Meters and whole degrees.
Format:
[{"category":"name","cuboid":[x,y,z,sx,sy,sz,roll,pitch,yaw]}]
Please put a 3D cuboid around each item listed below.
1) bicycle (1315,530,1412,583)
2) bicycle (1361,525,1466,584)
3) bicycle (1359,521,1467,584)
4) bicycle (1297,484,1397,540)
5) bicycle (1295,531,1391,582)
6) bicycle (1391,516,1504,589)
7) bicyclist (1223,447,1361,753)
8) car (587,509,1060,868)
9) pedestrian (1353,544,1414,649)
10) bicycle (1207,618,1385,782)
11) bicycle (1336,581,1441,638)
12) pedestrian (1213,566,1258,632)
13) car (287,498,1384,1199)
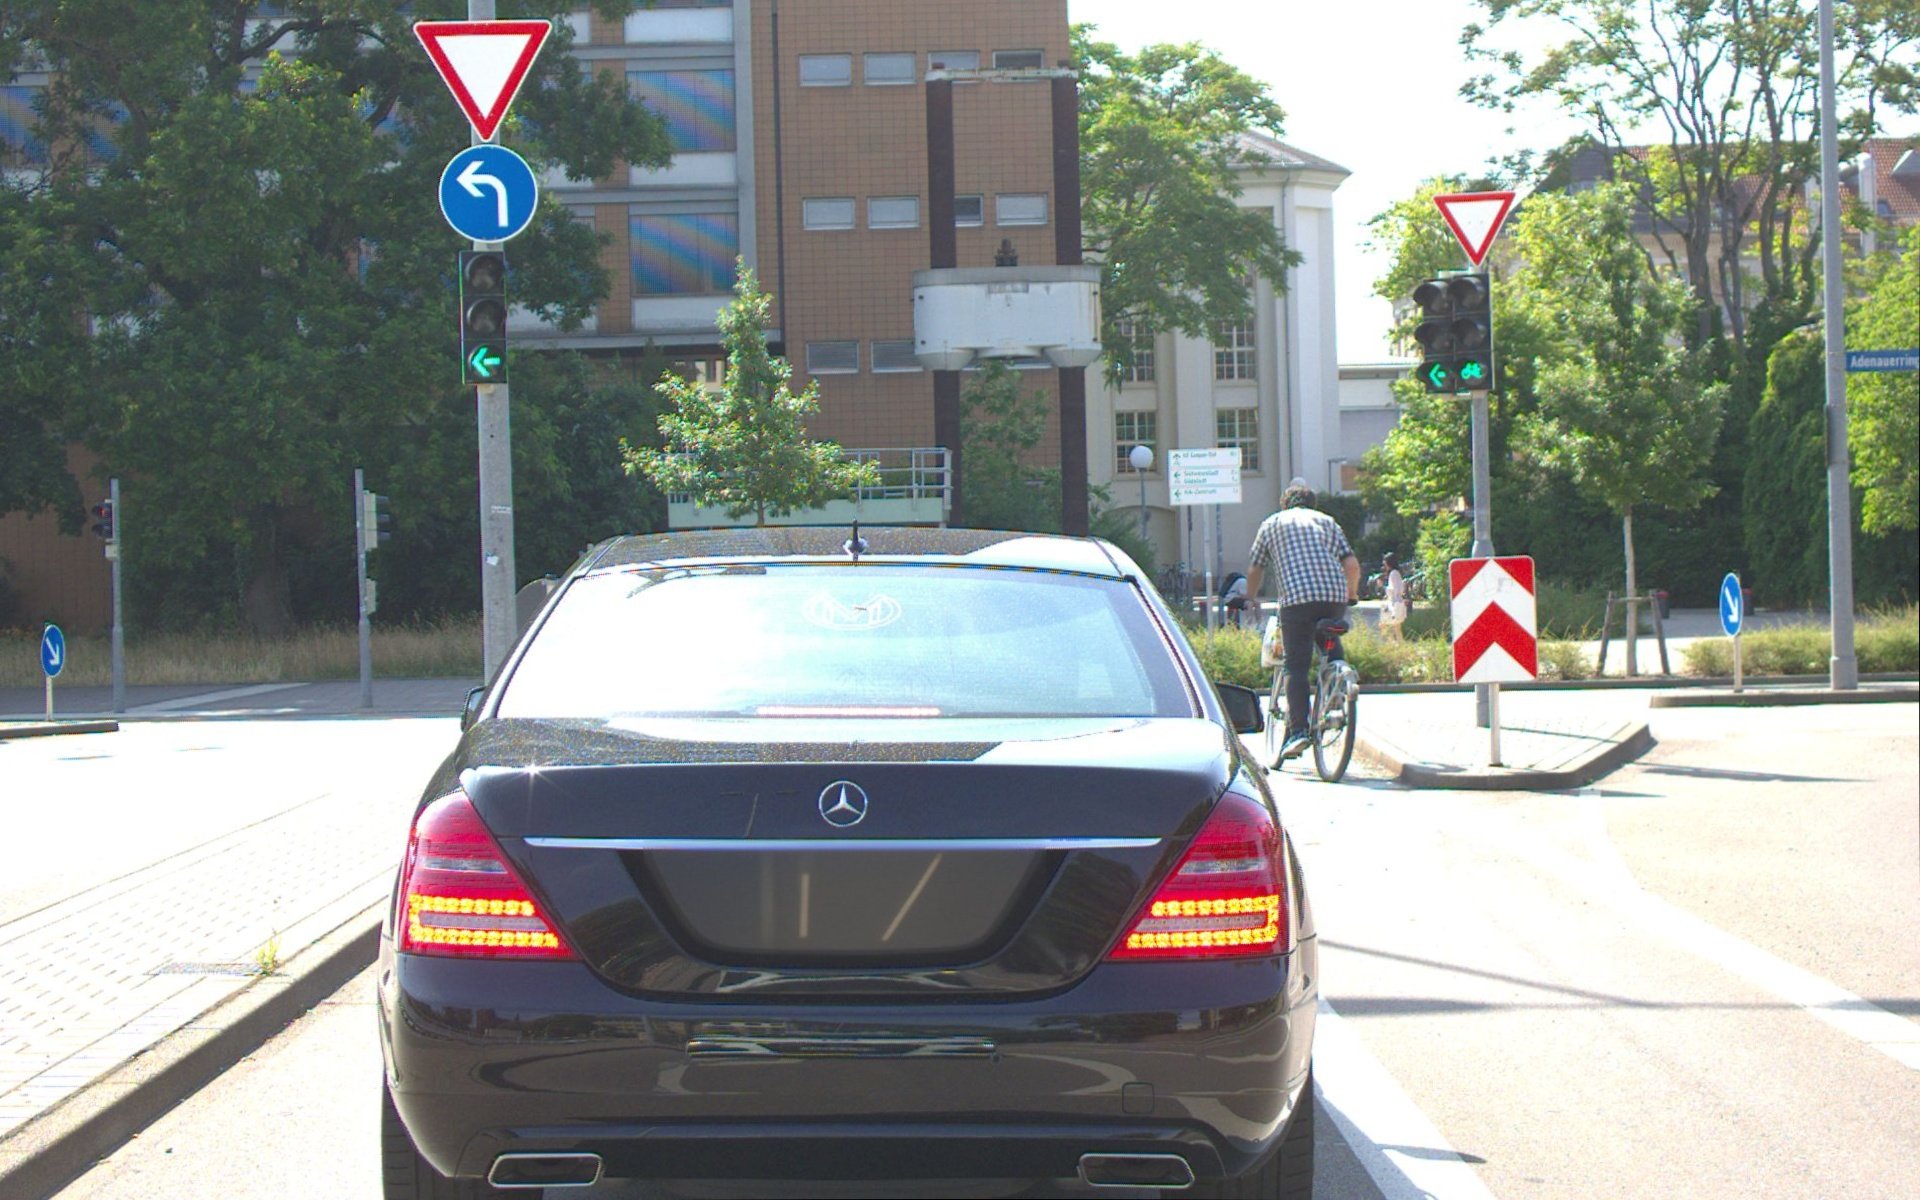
[{"category":"bicycle","cuboid":[12.262,-1.327,104.539,2.823,1.495,0.842,-2,1,-1]},{"category":"bicycle","cuboid":[12.844,-1.283,97.445,2.823,1.581,0.842,-2,1,-1]},{"category":"bicycle","cuboid":[12.519,-1.307,95.151,2.823,1.643,0.842,-2,1,-1]},{"category":"bicycle","cuboid":[11.548,-2.621,102.581,2.823,1.553,0.842,-2,1,-1]},{"category":"bicycle","cuboid":[11.848,-1.354,106.363,2.823,1.475,0.841,-2,1,0]},{"category":"bicycle","cuboid":[12.978,-1.271,91.515,2.823,1.830,0.842,-2,1,-1]},{"category":"bicyclist","cuboid":[2.069,-0.005,21.508,0.685,1.872,0.860,0,0,-7]},{"category":"car","cuboid":[-0.605,0.359,16.660,1.993,1.503,4.000,1,1,-1]},{"category":"pedestrian","cuboid":[6.445,-0.056,52.343,0.811,1.574,0.692,-2,0,2]},{"category":"bicycle","cuboid":[2.081,0.604,21.527,0.692,0.943,1.959,1,1,-7]},{"category":"bicycle","cuboid":[12.265,0.271,98.451,2.823,1.532,0.842,-2,1,-1]},{"category":"pedestrian","cuboid":[5.109,-0.027,63.634,0.793,1.209,0.757,1,0,6]},{"category":"car","cuboid":[-0.232,0.571,8.210,1.858,1.525,4.714,0,1,0]}]
